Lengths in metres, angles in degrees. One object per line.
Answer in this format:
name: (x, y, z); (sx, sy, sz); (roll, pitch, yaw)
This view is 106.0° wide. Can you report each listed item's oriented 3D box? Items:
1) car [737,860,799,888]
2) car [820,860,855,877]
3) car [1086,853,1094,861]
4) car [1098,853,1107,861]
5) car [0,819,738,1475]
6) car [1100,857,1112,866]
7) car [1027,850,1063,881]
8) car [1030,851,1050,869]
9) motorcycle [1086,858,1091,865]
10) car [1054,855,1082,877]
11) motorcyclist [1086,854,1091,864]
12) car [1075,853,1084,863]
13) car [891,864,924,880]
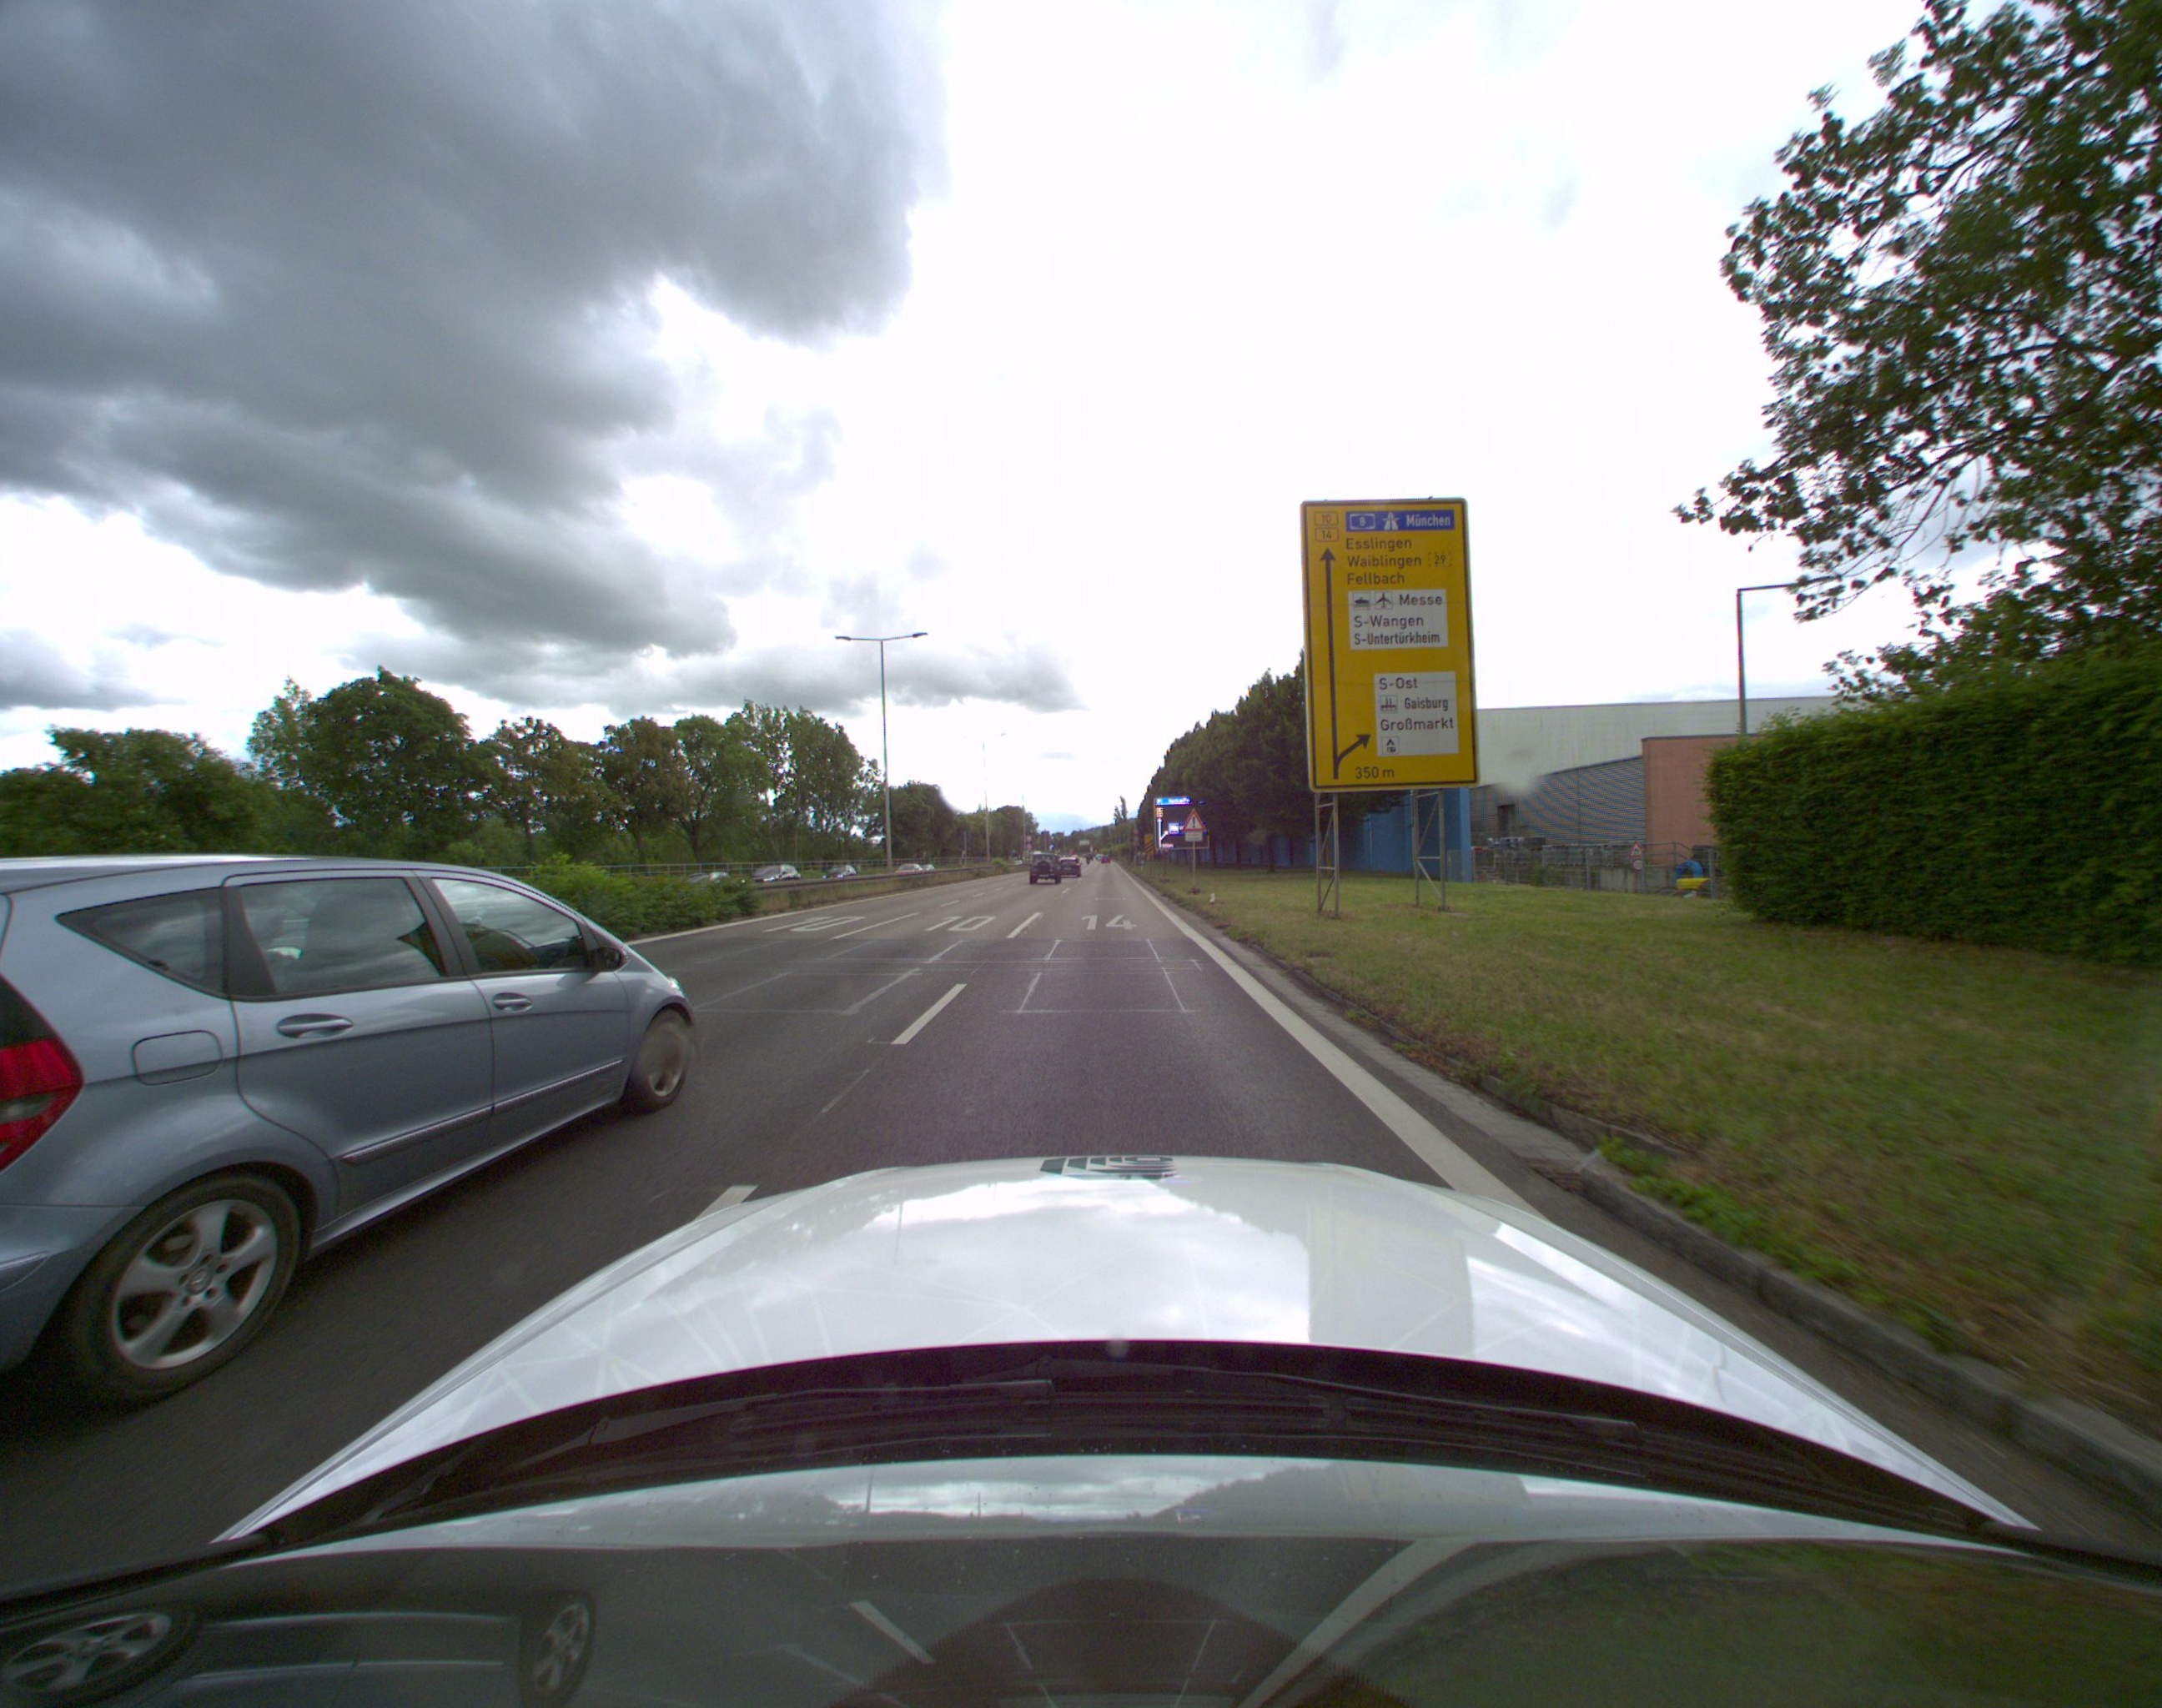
car: (-17.542, 1.085, 45.887); (1.770, 1.418, 4.068); (-1, 0, 2)
car: (-20.510, 1.215, 68.763); (1.573, 1.299, 4.063); (-1, 0, 2)
car: (2.453, 0.839, 214.922); (2.006, 1.934, 4.901); (-3, 0, 1)
car: (5.239, 0.682, 201.339); (2.006, 1.934, 4.901); (-3, 0, 1)
car: (-3.456, 0.703, 3.779); (1.872, 1.539, 4.147); (-1, 0, 1)
car: (4.460, 1.348, 145.423); (1.968, 1.423, 4.901); (-3, 0, 1)
car: (-2.005, 0.610, 46.175); (1.691, 1.686, 4.002); (1, 0, 2)
car: (-4.013, 0.603, 80.259); (1.692, 1.742, 4.001); (1, 0, 1)
motorcycle: (1.327, 1.339, 145.609); (0.788, 1.219, 2.331); (-1, 0, 2)
car: (-0.936, 0.851, 60.144); (1.838, 1.423, 4.901); (-3, 0, 1)
motorcyclist: (1.321, 0.941, 145.699); (0.788, 1.760, 0.923); (-1, 0, 2)
car: (-0.315, 0.830, 160.430); (1.693, 1.742, 4.391); (-3, 0, -1)
car: (-13.677, 1.394, 64.448); (1.539, 1.105, 4.068); (-1, 0, 2)
